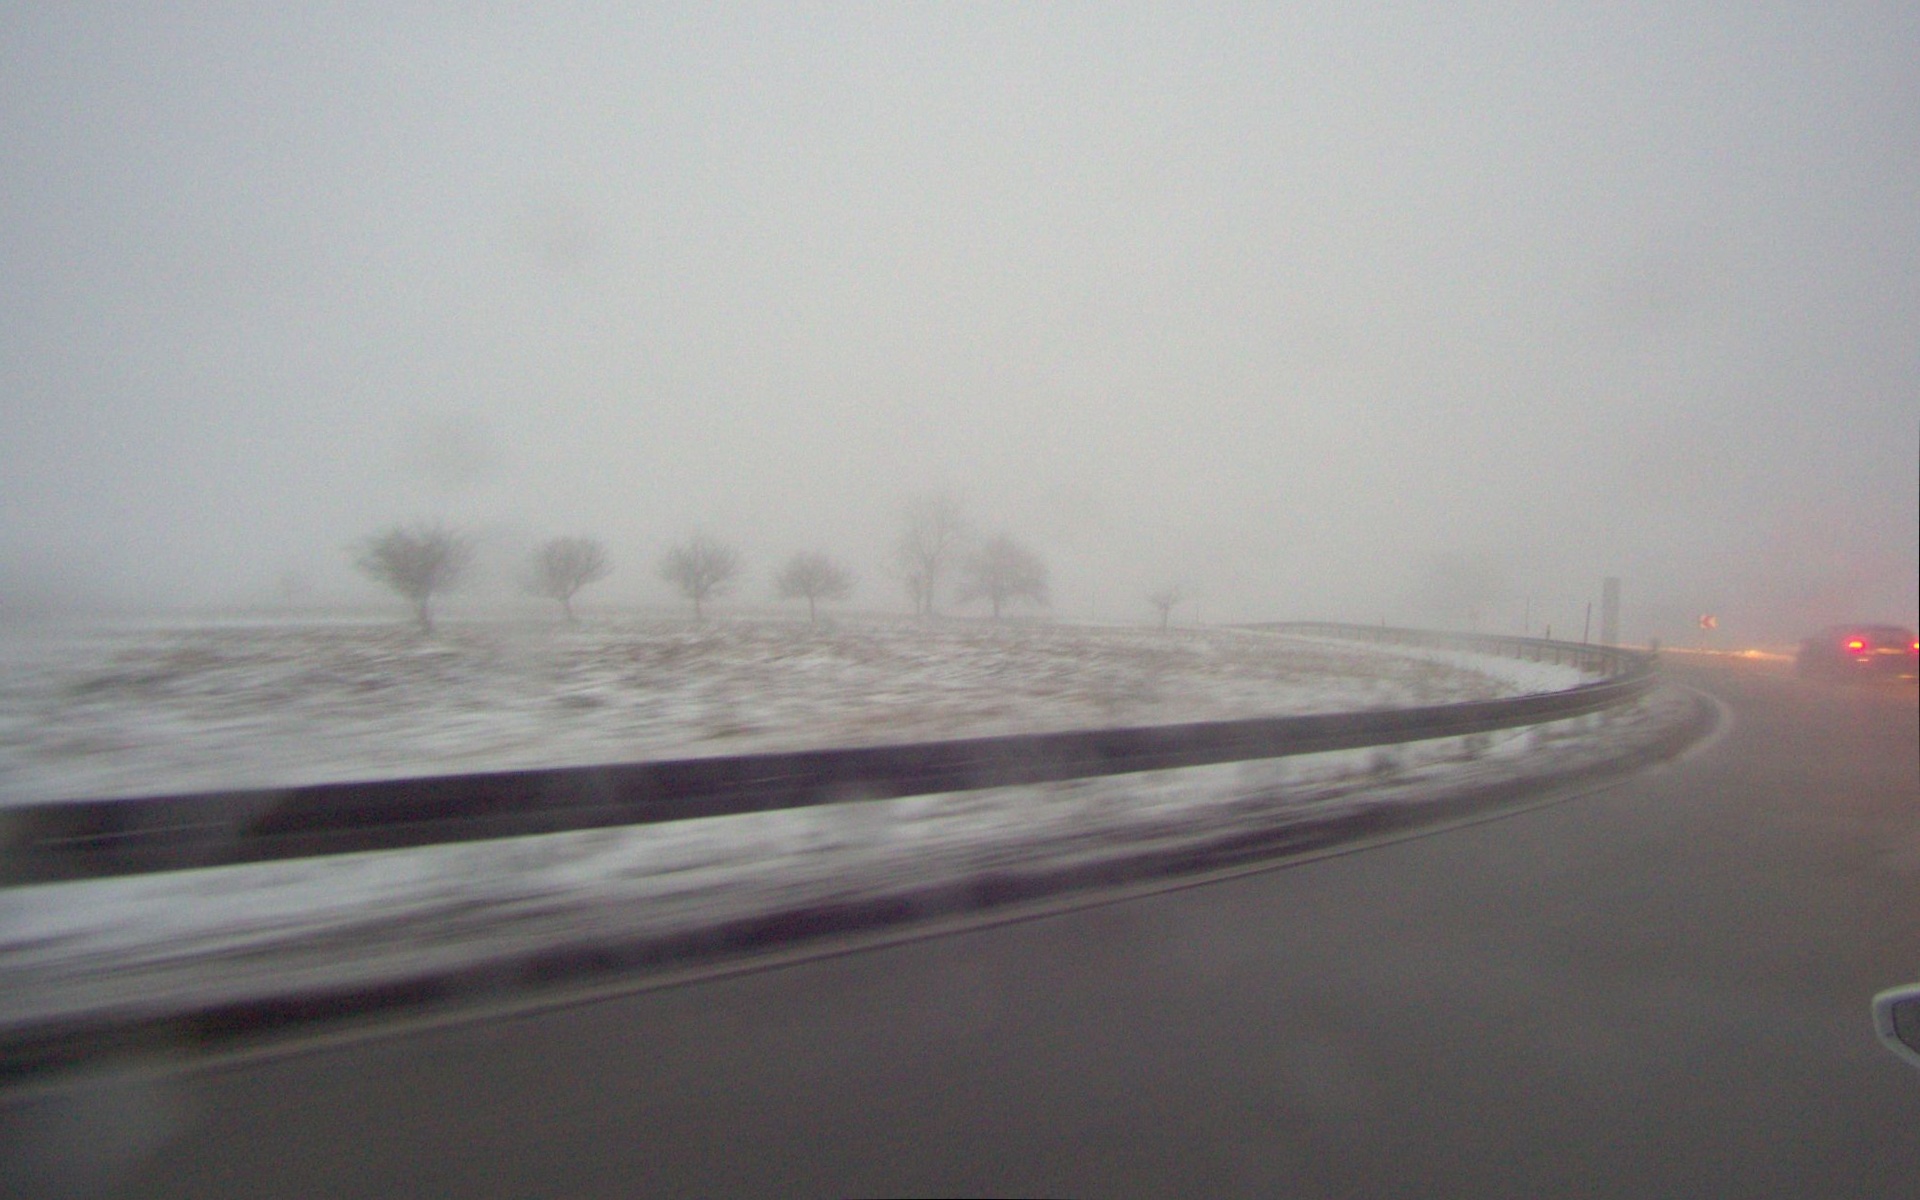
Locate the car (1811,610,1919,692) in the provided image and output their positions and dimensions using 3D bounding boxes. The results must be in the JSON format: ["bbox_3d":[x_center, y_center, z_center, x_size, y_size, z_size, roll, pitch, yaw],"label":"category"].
[{"bbox_3d":[23.970,1.274,26.521,1.968,1.807,3.984,5,3,37],"label":"car"}]
